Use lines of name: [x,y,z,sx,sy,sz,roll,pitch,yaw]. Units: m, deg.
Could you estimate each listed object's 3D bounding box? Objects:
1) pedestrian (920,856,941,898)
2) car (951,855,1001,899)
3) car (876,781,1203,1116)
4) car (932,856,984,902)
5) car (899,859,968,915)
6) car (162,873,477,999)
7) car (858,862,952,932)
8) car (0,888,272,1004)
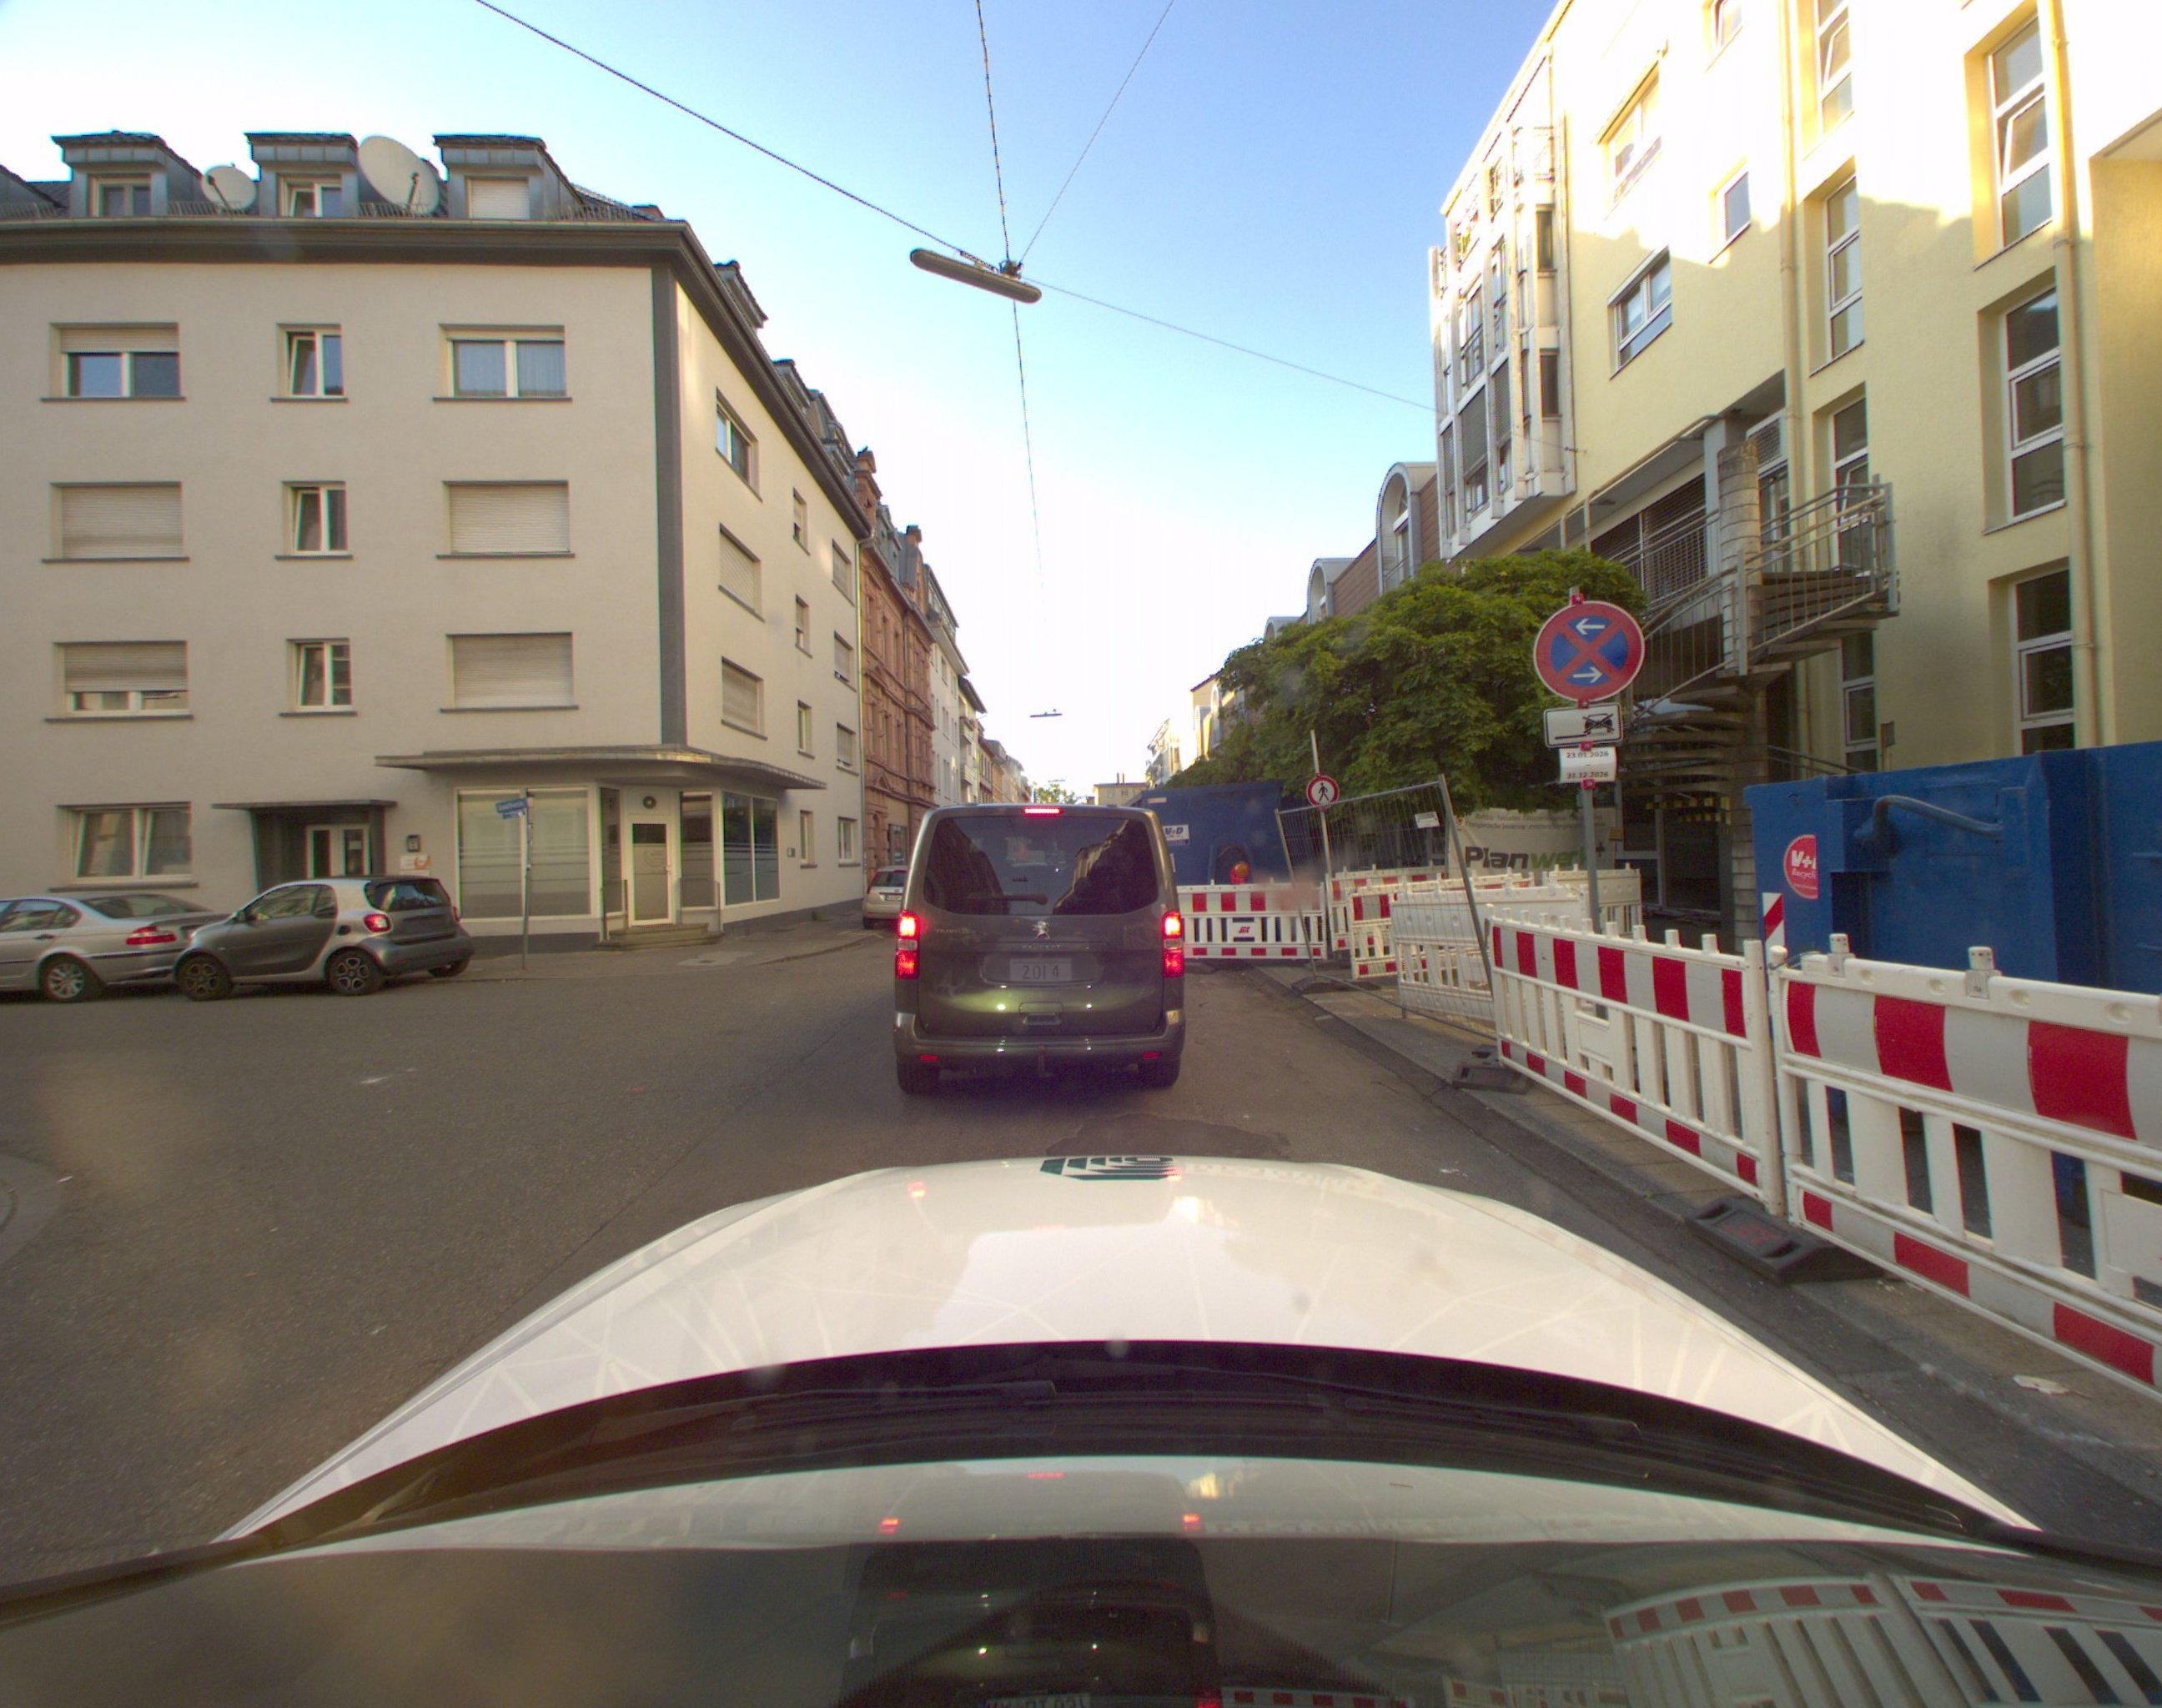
pedestrian: [-6.202,0.947,33.580,0.739,1.664,0.702,-2,0,-5]
car: [-4.530,0.990,35.708,1.888,1.720,3.748,3,-1,-4]
car: [-0.375,0.560,6.825,1.862,1.886,4.228,-1,-1,-4]
car: [-4.792,0.971,32.067,1.663,1.666,3.087,3,-1,-4]
car: [-4.443,0.980,24.970,1.653,1.525,3.412,3,-1,-4]
car: [-10.269,1.054,11.151,2.778,1.540,1.593,0,0,-1]
car: [-4.143,0.977,19.650,1.653,1.460,3.412,3,-1,-4]
car: [-14.202,1.243,11.309,4.193,1.403,1.602,-1,0,-2]
